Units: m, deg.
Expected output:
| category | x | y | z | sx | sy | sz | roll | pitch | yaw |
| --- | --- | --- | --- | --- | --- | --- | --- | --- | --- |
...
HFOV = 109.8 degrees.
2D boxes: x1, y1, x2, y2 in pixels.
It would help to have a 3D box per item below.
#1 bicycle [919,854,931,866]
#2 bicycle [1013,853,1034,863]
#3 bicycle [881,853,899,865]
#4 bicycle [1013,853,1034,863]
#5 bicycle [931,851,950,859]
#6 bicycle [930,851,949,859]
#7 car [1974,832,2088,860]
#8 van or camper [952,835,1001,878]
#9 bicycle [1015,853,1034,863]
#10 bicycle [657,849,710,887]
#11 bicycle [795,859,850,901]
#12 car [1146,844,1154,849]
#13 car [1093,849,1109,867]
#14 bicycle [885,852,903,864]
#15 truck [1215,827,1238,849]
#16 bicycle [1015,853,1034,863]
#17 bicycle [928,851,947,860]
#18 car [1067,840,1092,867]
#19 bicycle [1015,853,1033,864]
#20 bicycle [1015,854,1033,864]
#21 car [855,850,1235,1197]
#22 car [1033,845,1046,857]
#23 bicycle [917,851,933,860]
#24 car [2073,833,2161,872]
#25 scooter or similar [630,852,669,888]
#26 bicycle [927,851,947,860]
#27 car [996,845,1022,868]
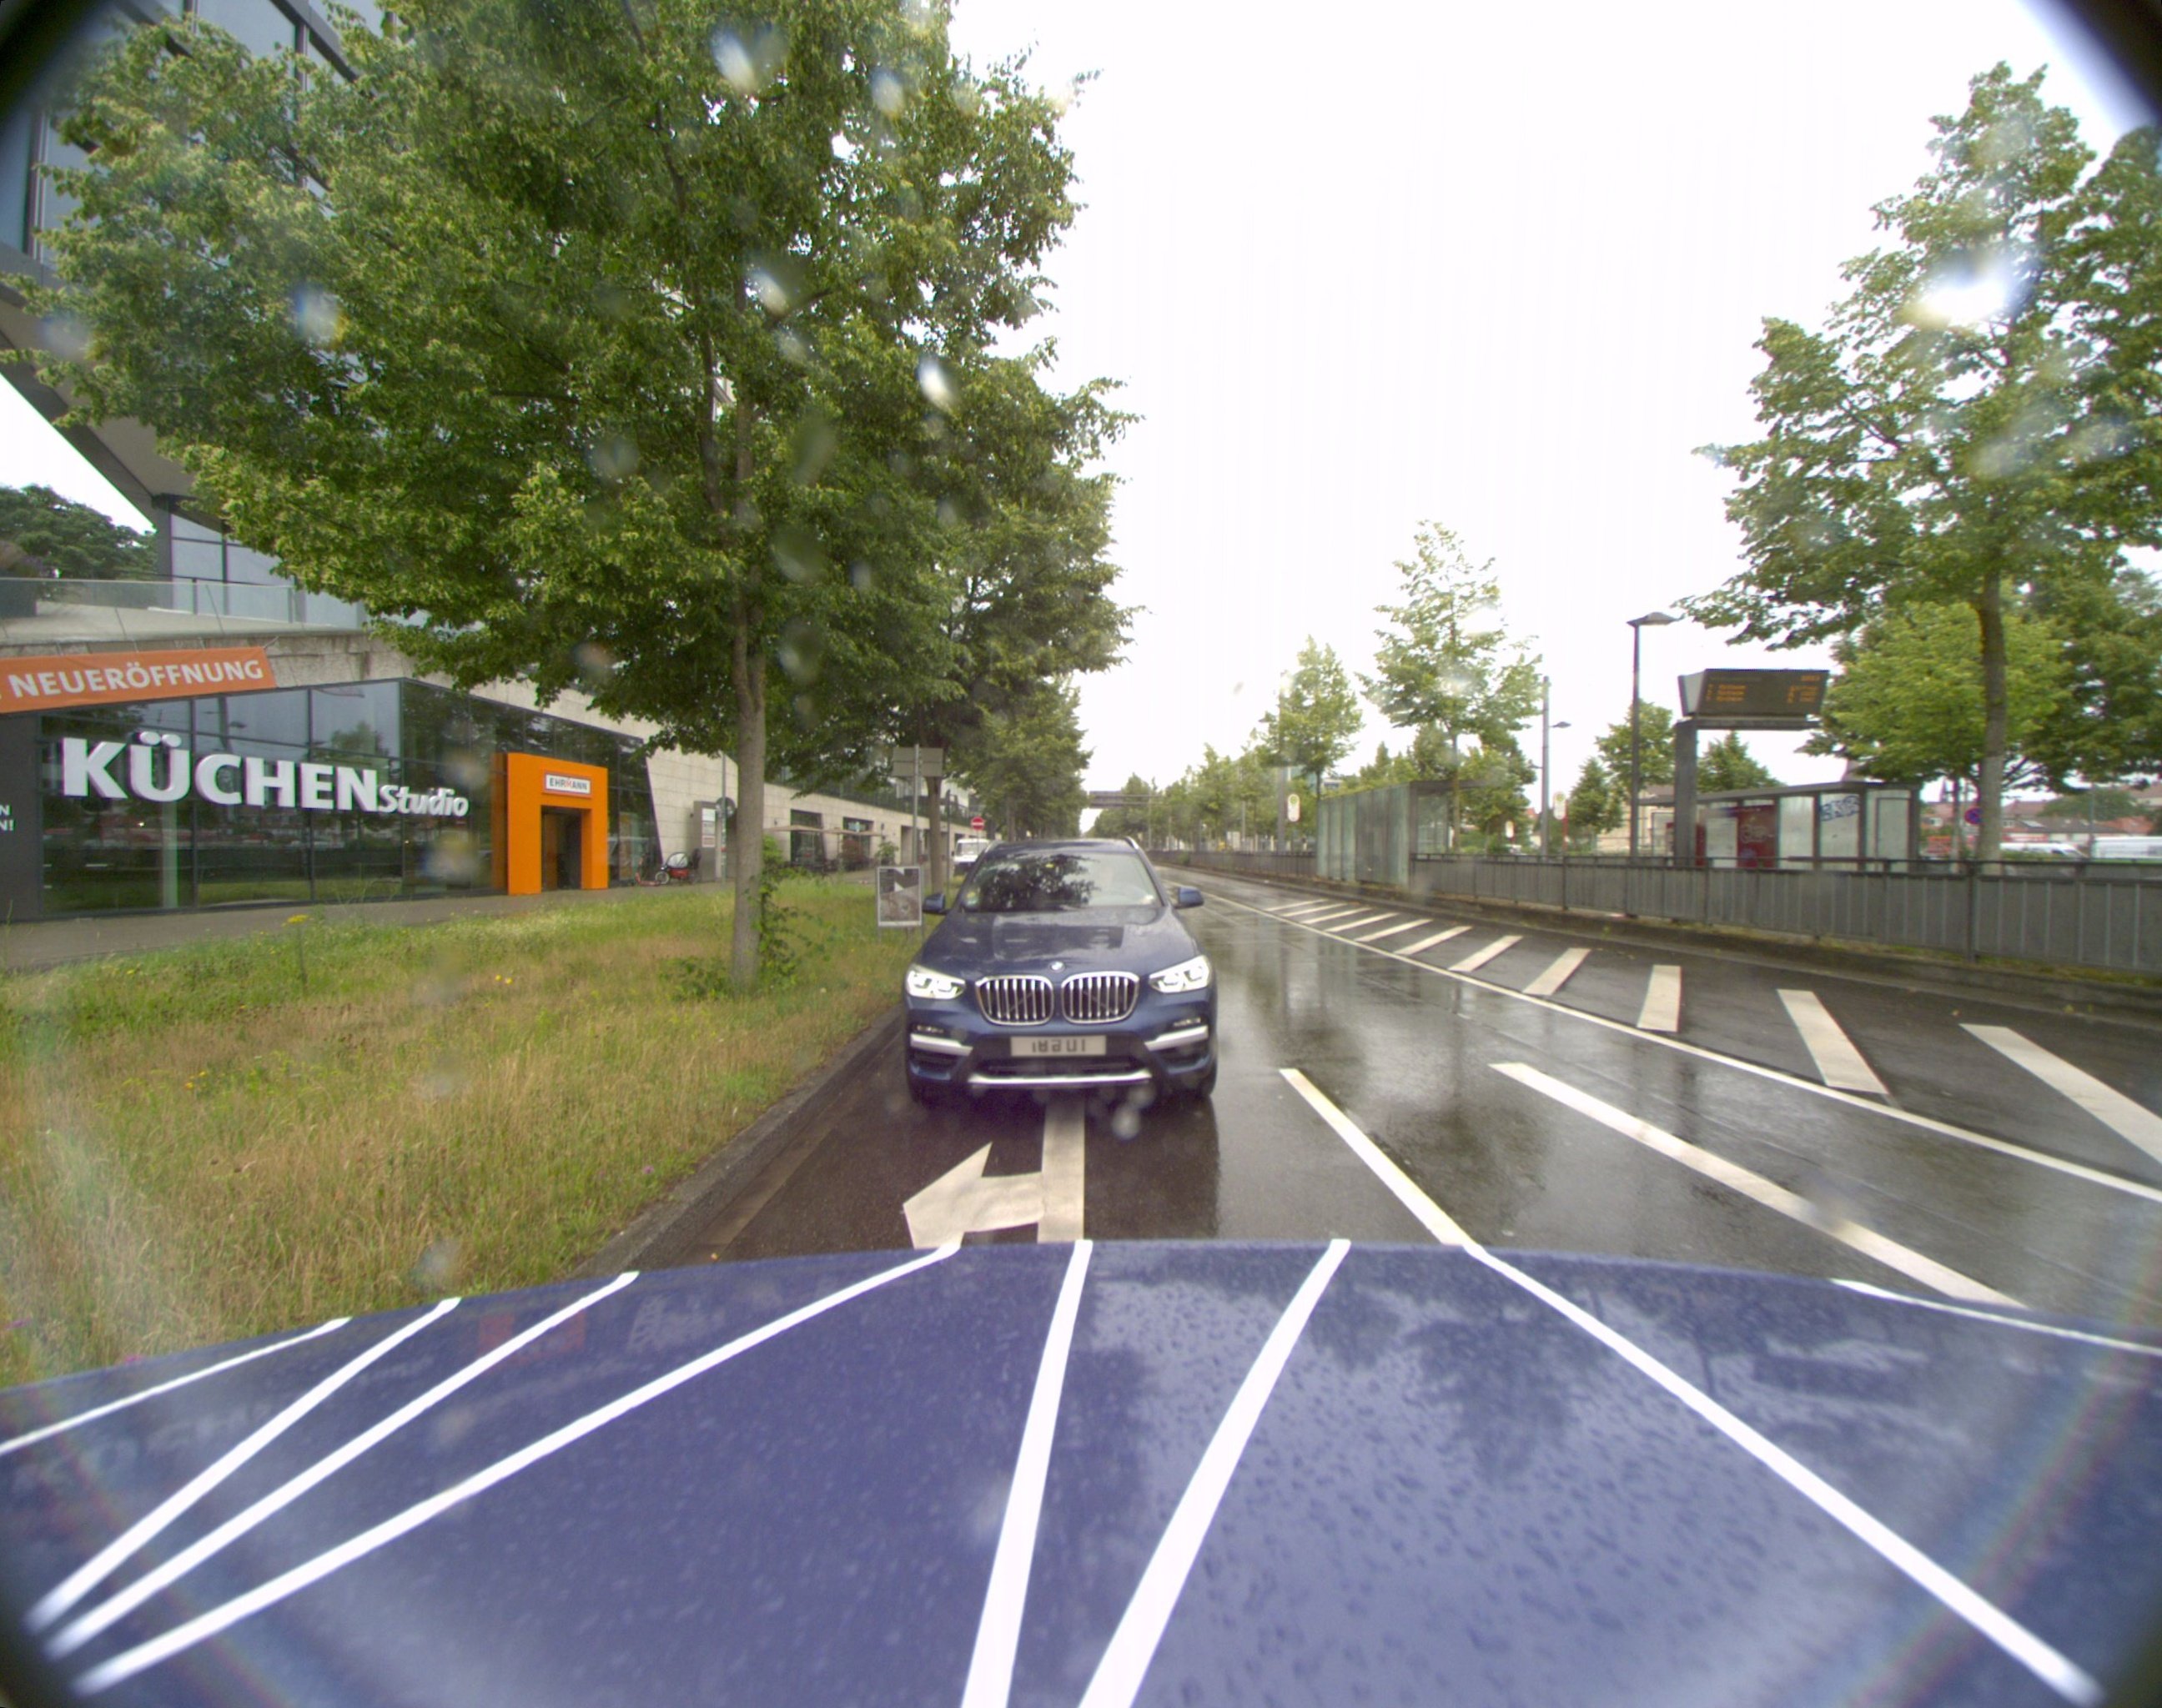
| category | x | y | z | sx | sy | sz | roll | pitch | yaw |
| --- | --- | --- | --- | --- | --- | --- | --- | --- | --- |
| bicycle | -13.153 | 0.473 | 64.221 | 0.402 | 0.940 | 1.859 | -1 | 1 | 8 |
| bicycle | -5.726 | 0.402 | 75.982 | 2.007 | 0.940 | 0.395 | -2 | 2 | -4 |
| bicycle | -15.395 | 0.390 | 61.349 | 0.396 | 0.940 | 2.024 | -4 | 2 | -45 |
| bicycle | -5.784 | 0.398 | 76.418 | 2.040 | 0.940 | 0.395 | -2 | 2 | -4 |
| bicycle | -16.000 | 0.092 | 86.661 | 2.029 | 0.940 | 0.395 | 1 | 1 | -4 |
| bicycle | -15.935 | 0.101 | 85.413 | 2.029 | 0.940 | 0.395 | 1 | 1 | -4 |
| car | 84.248 | -0.763 | 67.568 | 2.000 | 2.293 | 6.138 | -3 | 1 | -9 |
| van or camper | -5.879 | 0.092 | 43.403 | 2.030 | 2.279 | 5.458 | -1 | 1 | 0 |
| bicycle | -5.550 | 0.420 | 74.938 | 1.862 | 0.940 | 0.395 | -2 | 2 | -4 |
| bicycle | -15.404 | 0.527 | 29.542 | 0.734 | 1.394 | 2.425 | 1 | 0 | 1 |
| bicycle | -8.608 | 0.857 | 25.281 | 1.843 | 1.338 | 0.533 | -1 | 0 | 26 |
| car | 23.259 | -2.559 | 255.714 | 1.999 | 1.736 | 3.998 | -2 | 1 | -2 |
| car | 2.675 | 0.489 | 100.838 | 1.998 | 2.232 | 3.999 | -2 | 1 | 1 |
| bicycle | -15.290 | 0.371 | 62.110 | 0.396 | 0.940 | 2.024 | -4 | 2 | -45 |
| truck | 25.739 | -2.807 | 134.699 | 2.693 | 3.756 | 9.182 | -2 | 1 | 3 |
| bicycle | -5.615 | 0.409 | 75.496 | 1.882 | 0.940 | 0.395 | -2 | 2 | -4 |
| bicycle | -15.854 | 0.128 | 84.243 | 2.029 | 0.940 | 0.395 | 1 | 1 | -4 |
| car | -0.119 | -0.086 | 66.159 | 1.998 | 2.232 | 3.999 | -2 | 1 | 1 |
| bicycle | -5.535 | 0.458 | 73.659 | 1.649 | 0.940 | 0.395 | -2 | 2 | -4 |
| bicycle | -5.510 | 0.490 | 73.058 | 1.699 | 0.940 | 0.395 | -2 | 2 | -4 |
| car | -0.143 | 0.835 | 5.757 | 1.816 | 1.603 | 3.999 | -2 | 1 | 1 |
| car | -6.030 | -0.466 | 111.551 | 1.659 | 1.711 | 3.999 | -2 | 1 | 0 |
| bicycle | -16.340 | 0.189 | 79.693 | 1.657 | 0.940 | 0.347 | 1 | 2 | 19 |
| car | 70.054 | -0.124 | 49.410 | 1.999 | 2.448 | 6.744 | -2 | 1 | -4 |
| scooter or similar | -15.686 | 0.571 | 27.655 | 0.342 | 1.221 | 1.242 | -2 | 2 | 19 |
| bicycle | -15.841 | 0.135 | 83.582 | 2.029 | 0.940 | 0.395 | 1 | 1 | -4 |
| car | -5.851 | 0.155 | 62.201 | 1.746 | 1.749 | 4.847 | -1 | 1 | 0 |
